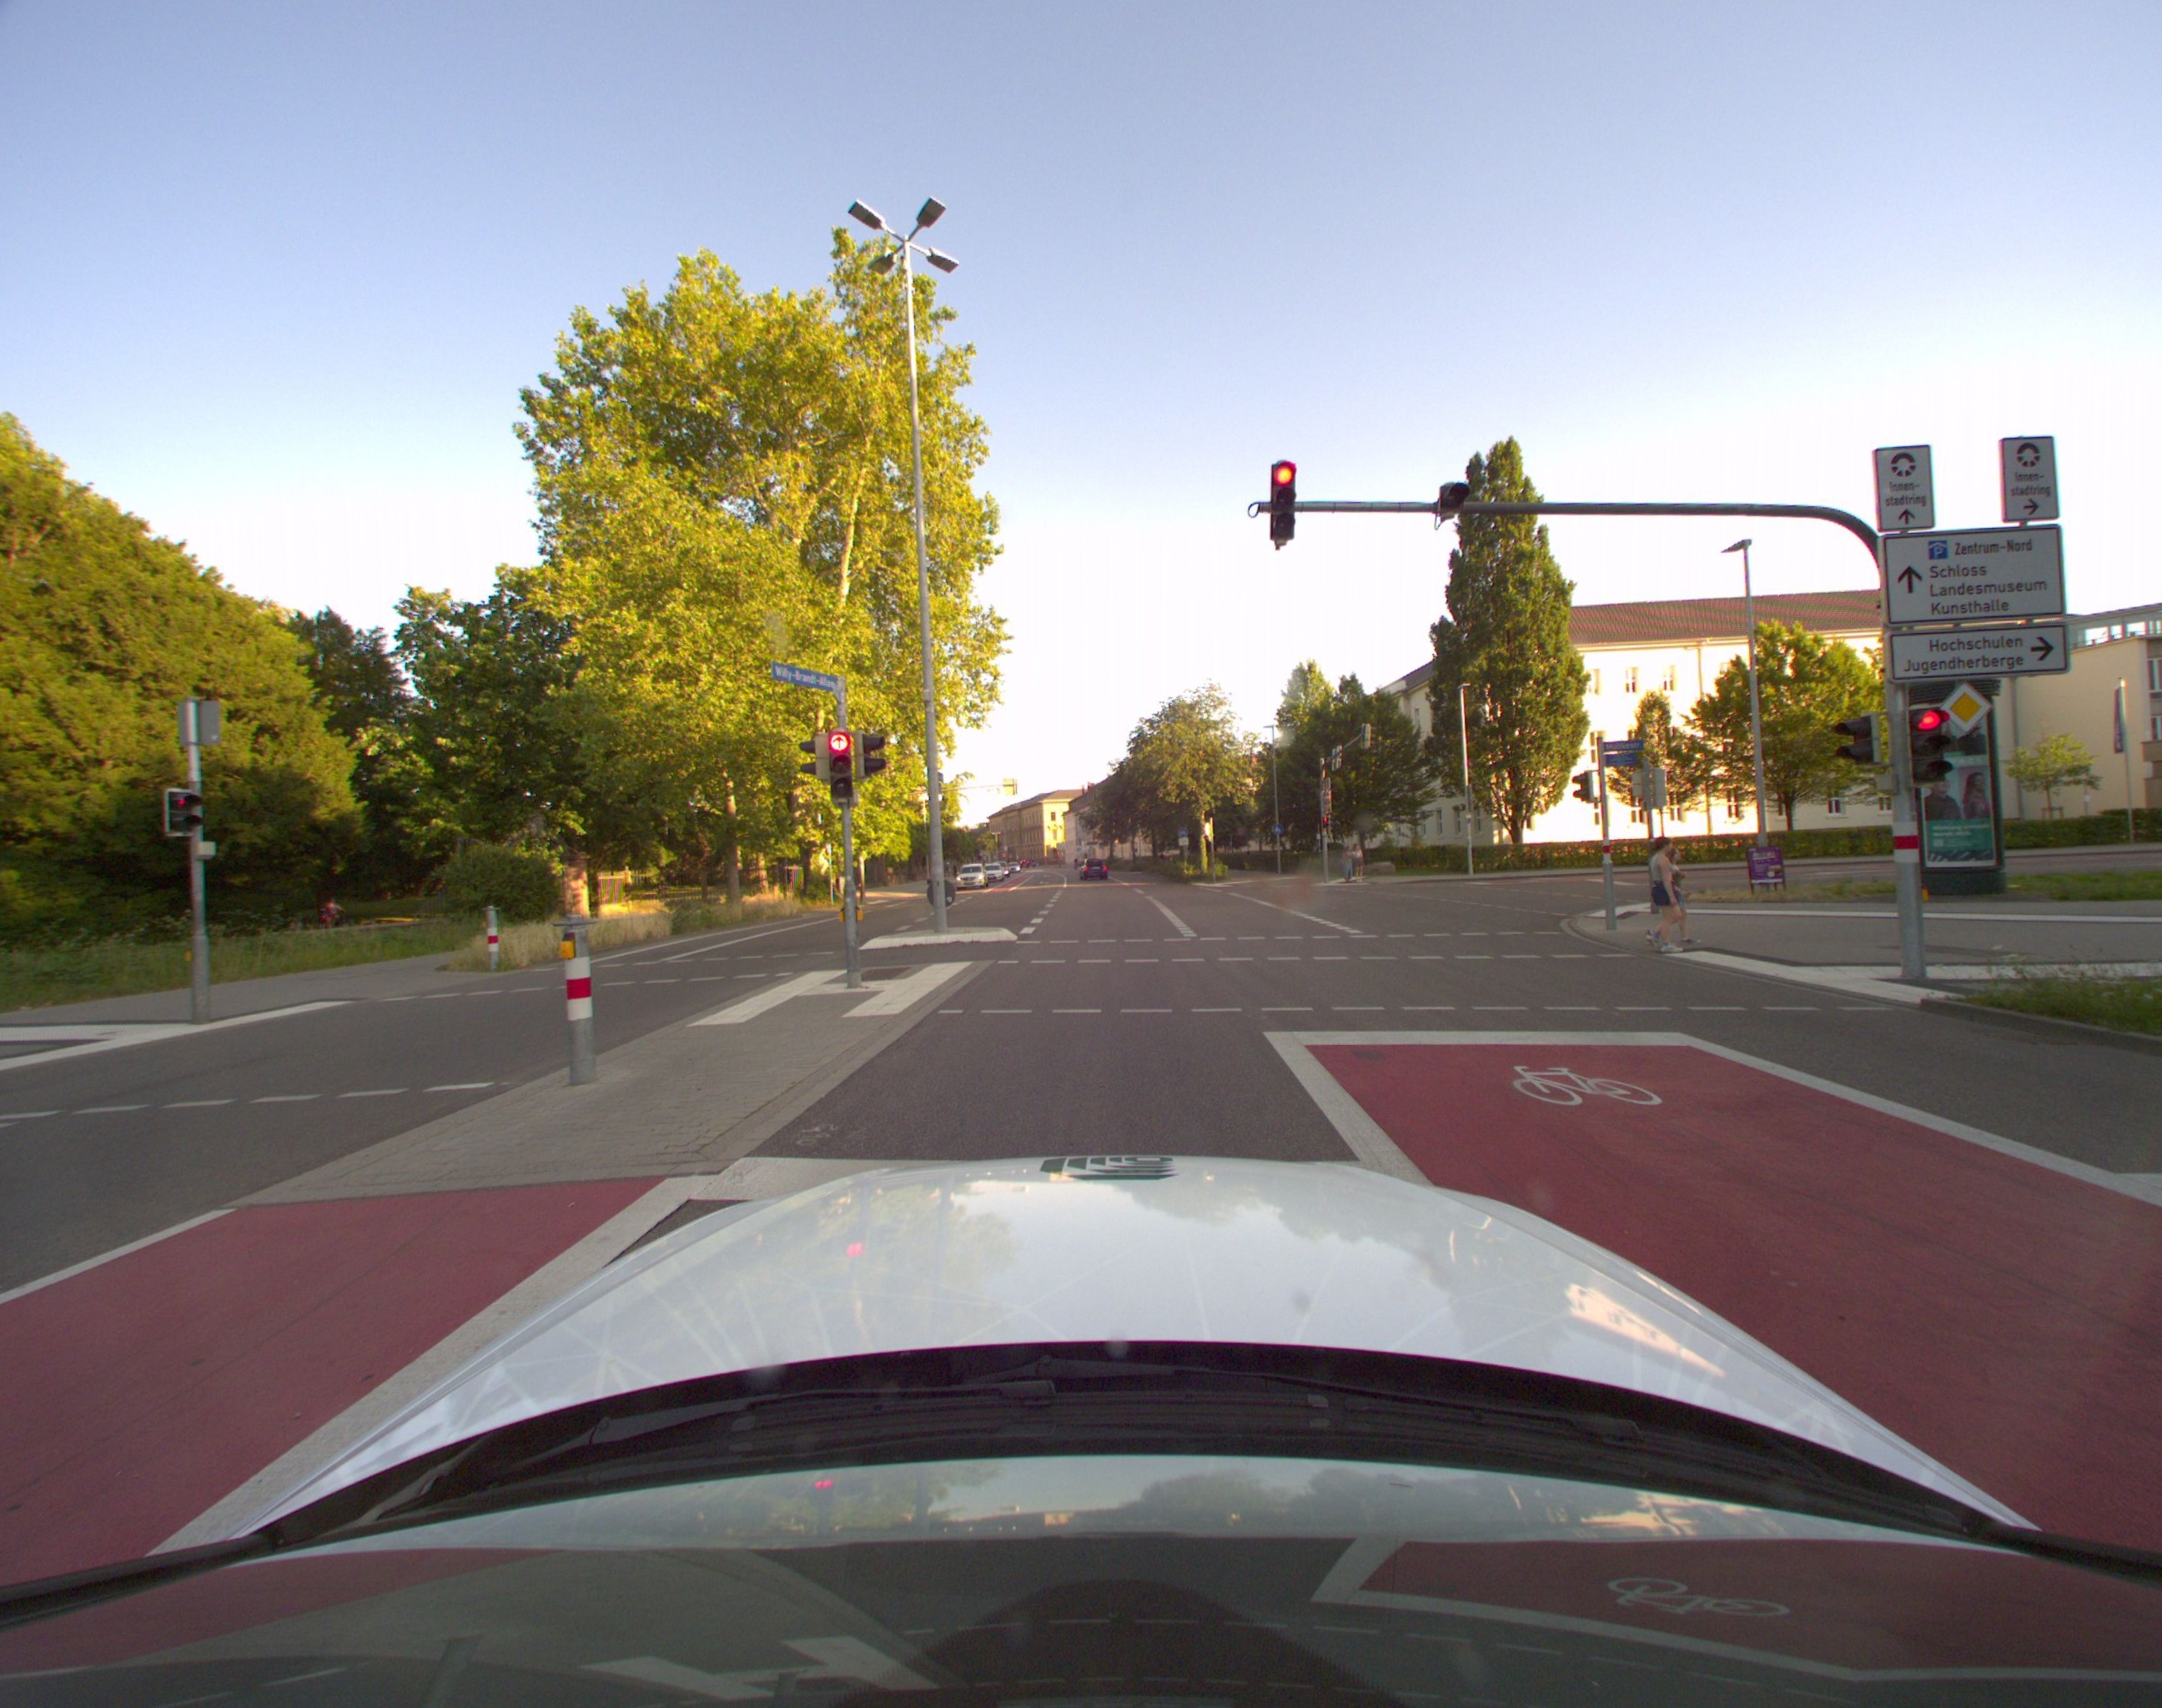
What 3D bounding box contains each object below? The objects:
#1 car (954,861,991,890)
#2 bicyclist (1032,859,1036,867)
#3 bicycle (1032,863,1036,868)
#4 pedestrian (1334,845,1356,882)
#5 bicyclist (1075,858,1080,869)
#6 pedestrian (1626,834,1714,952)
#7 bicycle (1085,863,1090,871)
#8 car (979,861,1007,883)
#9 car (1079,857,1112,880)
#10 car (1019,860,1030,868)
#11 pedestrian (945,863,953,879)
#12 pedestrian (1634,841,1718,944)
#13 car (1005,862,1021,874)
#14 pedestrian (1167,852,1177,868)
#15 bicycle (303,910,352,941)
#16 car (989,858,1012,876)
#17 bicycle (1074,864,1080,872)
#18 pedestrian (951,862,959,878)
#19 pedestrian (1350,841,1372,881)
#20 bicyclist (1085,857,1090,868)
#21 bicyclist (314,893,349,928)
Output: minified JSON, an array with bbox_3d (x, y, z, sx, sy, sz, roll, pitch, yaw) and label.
[{"bbox_3d":[-7.220,1.415,54.449,1.912,1.695,4.422,-5,0,-2],"label":"car"},{"bbox_3d":[-10.080,1.896,174.372,0.651,1.698,0.954,0,-1,-8],"label":"bicyclist"},{"bbox_3d":[-10.072,2.540,174.345,0.651,1.015,2.191,0,-1,-8],"label":"bicycle"},{"bbox_3d":[11.911,0.403,36.729,0.678,1.622,0.845,-3,0,1],"label":"pedestrian"},{"bbox_3d":[-0.524,1.280,108.541,0.650,1.446,0.878,0,-1,-2],"label":"bicyclist"},{"bbox_3d":[8.645,0.562,11.987,0.768,1.660,0.724,-3,0,14],"label":"pedestrian"},{"bbox_3d":[0.856,1.782,109.392,0.650,1.015,2.197,0,-1,0],"label":"bicycle"},{"bbox_3d":[-7.352,1.497,68.304,1.912,1.583,4.670,-5,0,-2],"label":"car"},{"bbox_3d":[0.989,0.988,57.575,1.864,1.510,3.994,-3,0,-4],"label":"car"},{"bbox_3d":[-11.879,2.124,170.556,1.915,1.417,4.756,-5,0,-8],"label":"car"},{"bbox_3d":[-14.216,1.806,87.694,0.678,1.622,0.689,-3,0,1],"label":"pedestrian"},{"bbox_3d":[9.247,0.584,12.687,0.781,1.523,0.740,-3,0,14],"label":"pedestrian"},{"bbox_3d":[-9.282,1.915,111.940,1.912,1.417,4.766,-5,0,-2],"label":"car"},{"bbox_3d":[9.824,0.652,87.802,0.769,1.739,0.805,-3,0,-8],"label":"pedestrian"},{"bbox_3d":[-33.160,3.158,35.841,1.956,1.256,0.796,-3,-1,22],"label":"bicycle"},{"bbox_3d":[-8.154,1.328,83.079,1.912,1.624,4.635,-5,0,-2],"label":"car"},{"bbox_3d":[-0.528,1.830,108.565,0.650,1.015,2.196,0,-1,-2],"label":"bicycle"},{"bbox_3d":[-13.504,1.733,87.384,0.678,1.622,0.689,-3,0,1],"label":"pedestrian"},{"bbox_3d":[12.615,0.329,36.725,0.678,1.754,0.689,-3,0,1],"label":"pedestrian"},{"bbox_3d":[0.856,1.086,109.588,0.650,1.475,0.940,0,-1,-1],"label":"bicyclist"},{"bbox_3d":[-32.850,2.476,35.704,0.881,1.427,0.796,-3,-1,22],"label":"bicyclist"}]
